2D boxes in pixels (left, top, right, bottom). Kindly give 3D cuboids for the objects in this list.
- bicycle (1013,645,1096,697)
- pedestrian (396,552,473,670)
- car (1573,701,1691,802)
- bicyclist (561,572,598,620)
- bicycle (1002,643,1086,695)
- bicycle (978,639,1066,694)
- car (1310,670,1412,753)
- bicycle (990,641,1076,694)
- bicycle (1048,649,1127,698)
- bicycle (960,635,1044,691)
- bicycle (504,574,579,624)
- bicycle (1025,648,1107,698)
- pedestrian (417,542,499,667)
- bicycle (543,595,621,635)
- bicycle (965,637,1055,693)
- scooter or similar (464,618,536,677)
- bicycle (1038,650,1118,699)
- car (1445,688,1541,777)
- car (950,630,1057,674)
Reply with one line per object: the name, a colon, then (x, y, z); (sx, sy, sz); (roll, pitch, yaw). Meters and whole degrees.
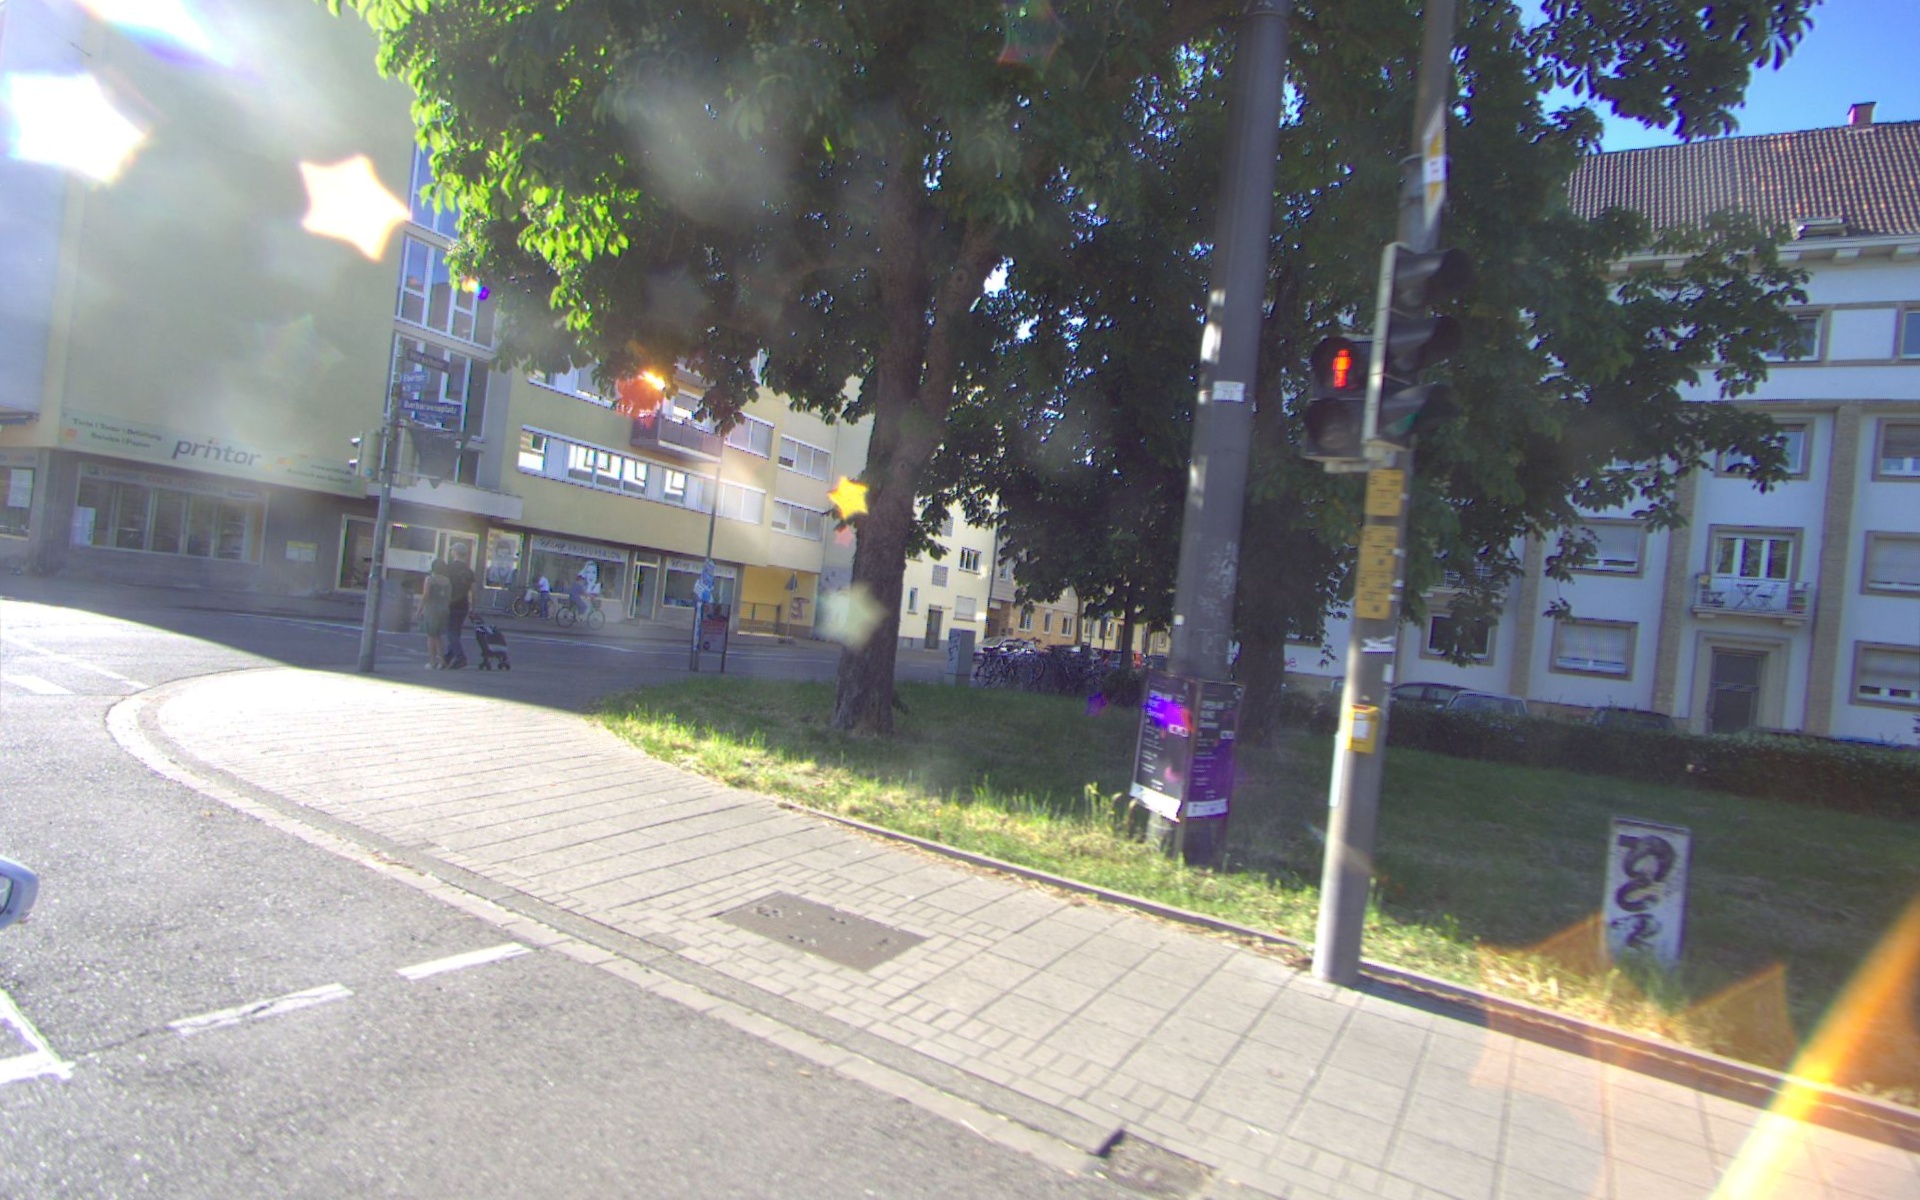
bicycle: (2.427, 1.829, 26.050); (1.974, 1.046, 0.598); (6, -3, 32)
pedestrian: (-7.308, 0.154, 13.997); (0.490, 1.539, 0.646); (5, -3, 44)
car: (12.905, 2.838, 19.481); (1.549, 1.547, 3.254); (6, -1, 30)
bicyclist: (-12.912, -0.140, 34.139); (0.765, 1.489, 0.887); (6, 1, -41)
bicycle: (2.124, 1.751, 25.525); (1.974, 1.046, 0.598); (6, -3, 32)
bicycle: (1.499, 1.608, 24.422); (1.958, 1.046, 0.598); (6, -3, 32)
car: (9.081, 2.480, 22.673); (1.549, 1.547, 3.254); (6, -1, 30)
bicycle: (1.806, 1.669, 24.967); (1.974, 1.046, 0.598); (6, -3, 32)
bicycle: (3.482, 2.008, 27.514); (1.974, 1.046, 0.598); (6, -3, 32)
bicycle: (0.958, 1.457, 23.231); (1.766, 1.046, 0.598); (6, -3, 32)
bicycle: (-15.052, -0.016, 36.262); (0.598, 1.414, 2.477); (6, -4, 31)
bicycle: (2.797, 1.913, 26.521); (1.974, 1.046, 0.598); (6, -3, 32)
pedestrian: (-7.303, 0.072, 14.649); (0.526, 1.700, 0.729); (5, -3, 44)
bicycle: (-12.854, 0.513, 34.251); (2.245, 1.000, 0.778); (9, 2, -43)
bicycle: (1.179, 1.532, 23.854); (1.974, 1.046, 0.598); (6, -3, 32)
scooter or similar: (-6.673, 0.691, 14.596); (0.670, 0.745, 0.599); (6, -3, 31)
bicycle: (3.161, 1.999, 27.034); (1.974, 1.046, 0.598); (6, -3, 32)
car: (11.477, 2.777, 21.585); (1.549, 1.547, 3.254); (6, -1, 30)
car: (2.262, 2.690, 51.709); (5.061, 1.512, 2.209); (8, 0, -35)
